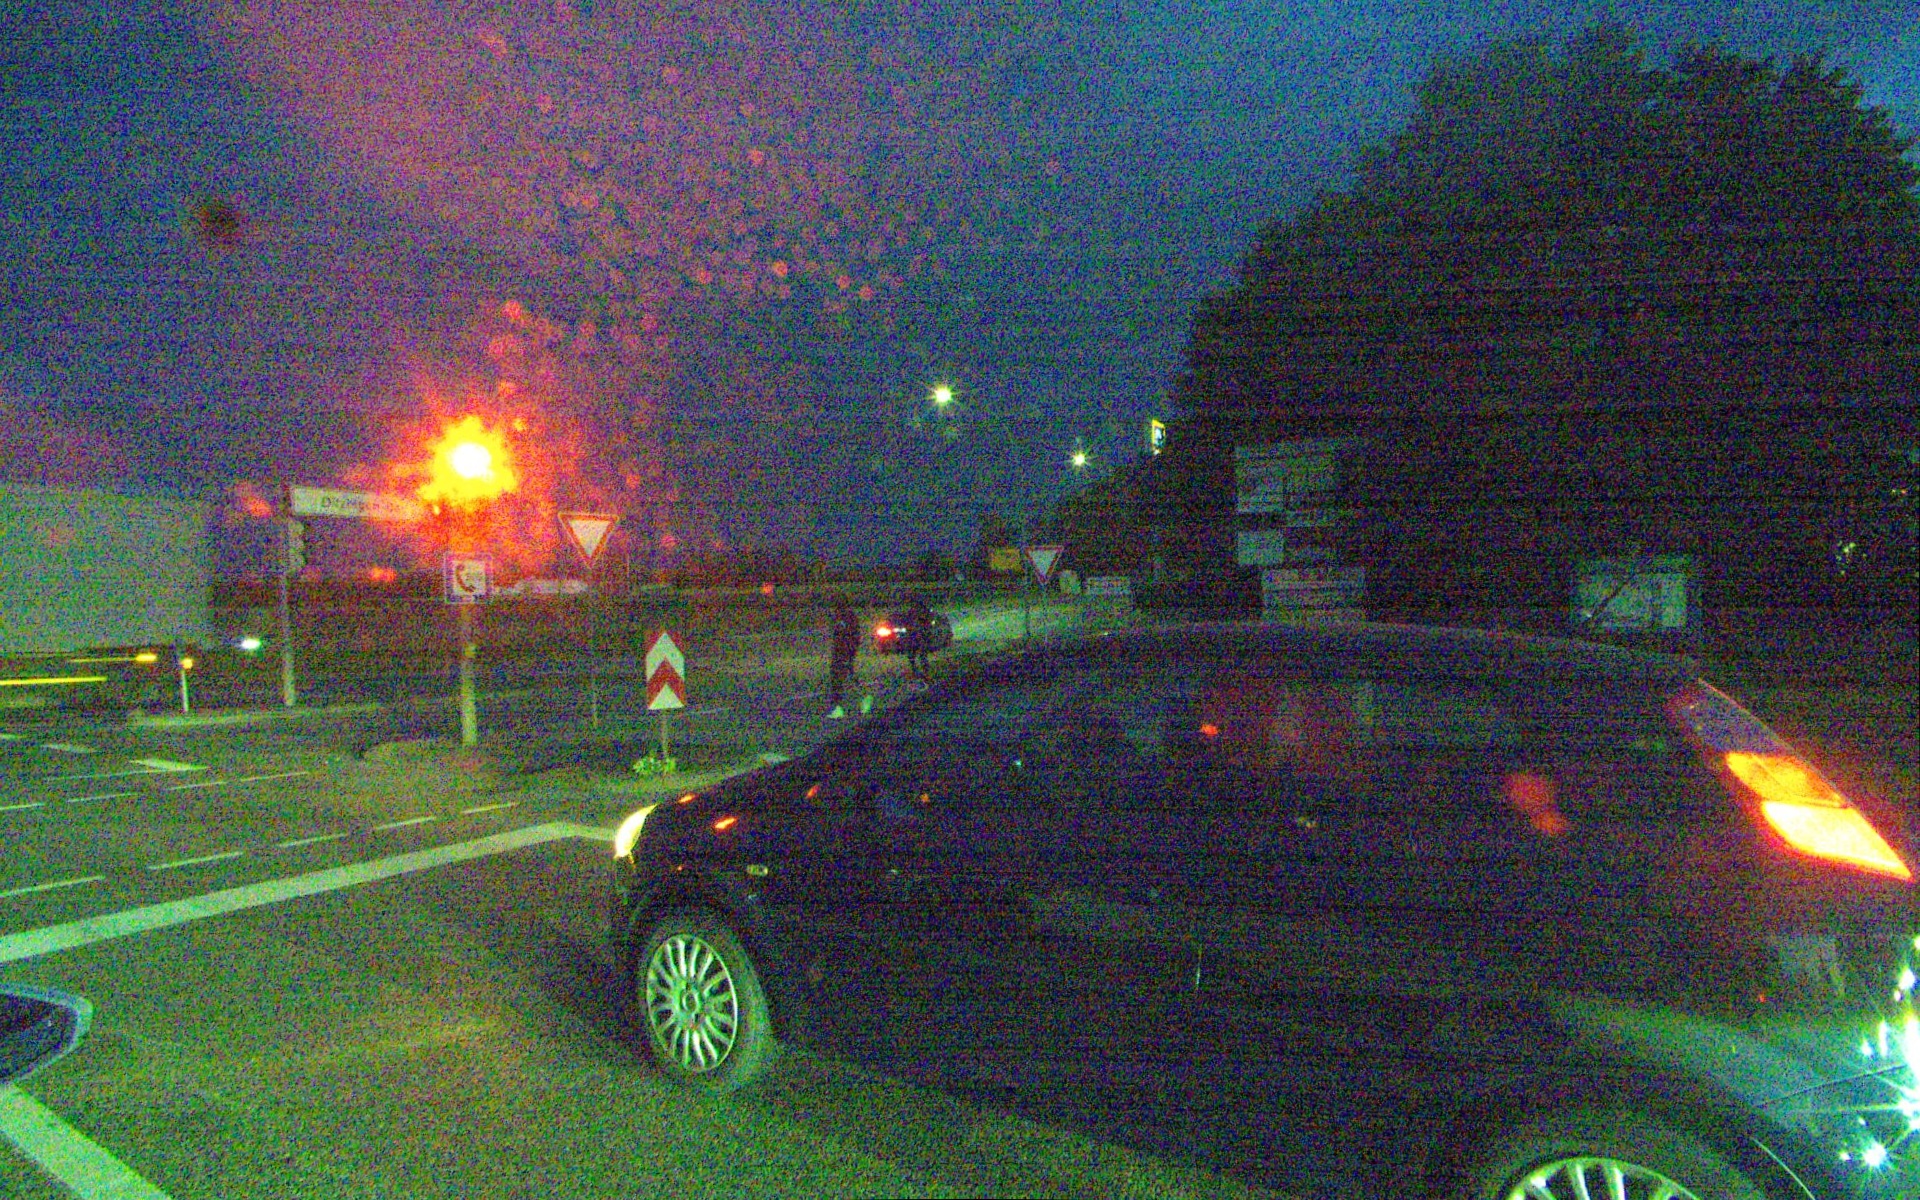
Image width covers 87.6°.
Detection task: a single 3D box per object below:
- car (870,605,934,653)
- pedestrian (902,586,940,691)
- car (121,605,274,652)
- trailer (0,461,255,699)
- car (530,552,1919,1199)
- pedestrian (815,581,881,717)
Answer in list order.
[{"bbox_3d":[-1.952,0.965,34.642,1.774,1.462,3.998,0,1,3],"label":"car"},{"bbox_3d":[-0.783,0.758,19.910,0.700,2.039,0.781,0,-1,-6],"label":"pedestrian"},{"bbox_3d":[-29.912,1.080,39.487,4.407,1.686,1.992,-1,1,-26],"label":"car"},{"bbox_3d":[-17.436,-0.310,16.951,2.543,3.996,8.845,-1,1,25],"label":"trailer"},{"bbox_3d":[0.456,0.764,3.219,3.663,1.557,1.655,-2,-2,33],"label":"car"},{"bbox_3d":[-1.734,0.751,15.541,0.704,2.039,0.776,-1,-1,33],"label":"pedestrian"}]
